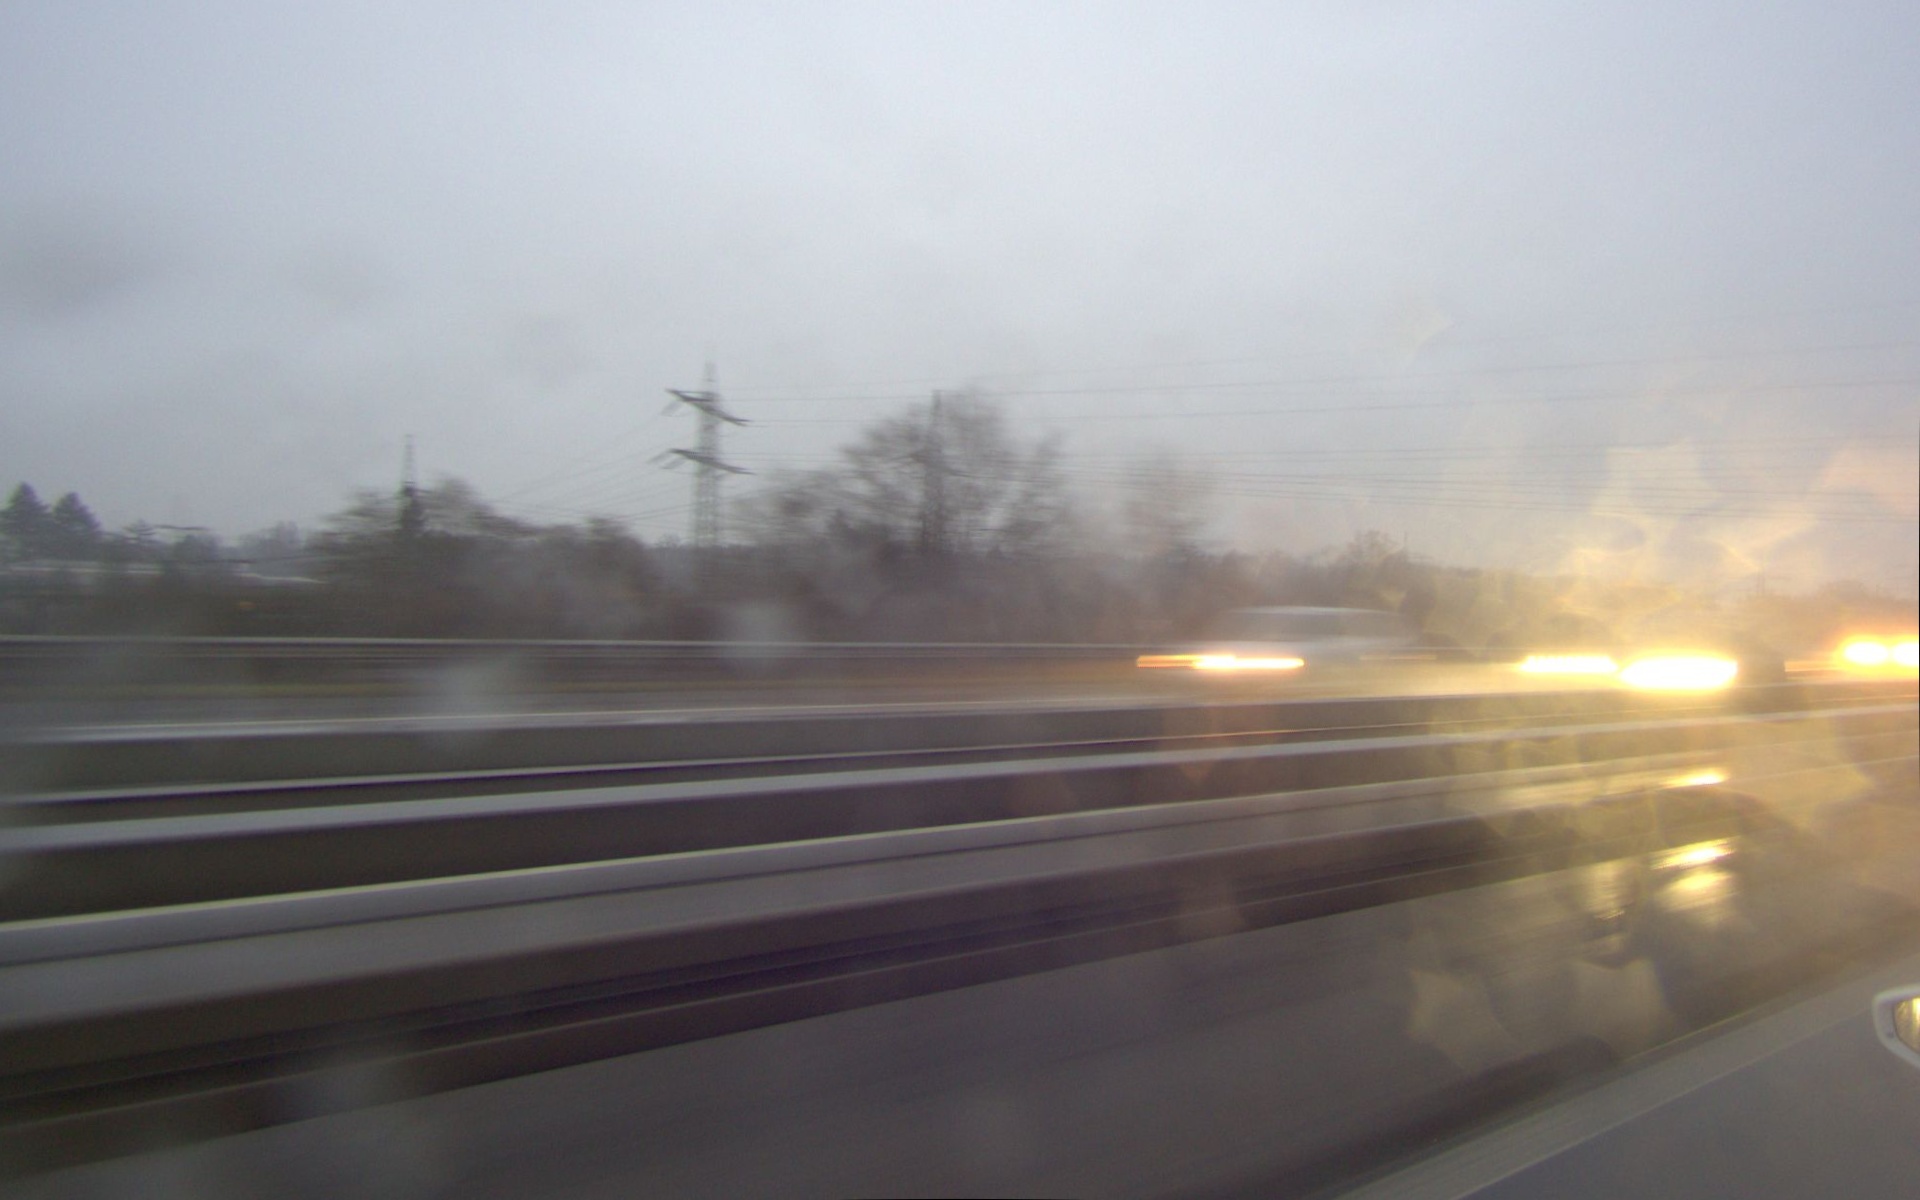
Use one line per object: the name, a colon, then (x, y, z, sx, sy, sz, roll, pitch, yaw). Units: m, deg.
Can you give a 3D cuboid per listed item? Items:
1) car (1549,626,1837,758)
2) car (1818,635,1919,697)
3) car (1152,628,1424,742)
car: (10.562, 1.189, 14.399, 4.417, 1.572, 1.808, 0, 0, -31)
car: (29.884, 2.086, 32.321, 4.792, 1.815, 2.060, 2, -1, -31)
car: (5.451, 1.290, 16.553, 4.343, 1.572, 1.973, 0, 0, -32)
